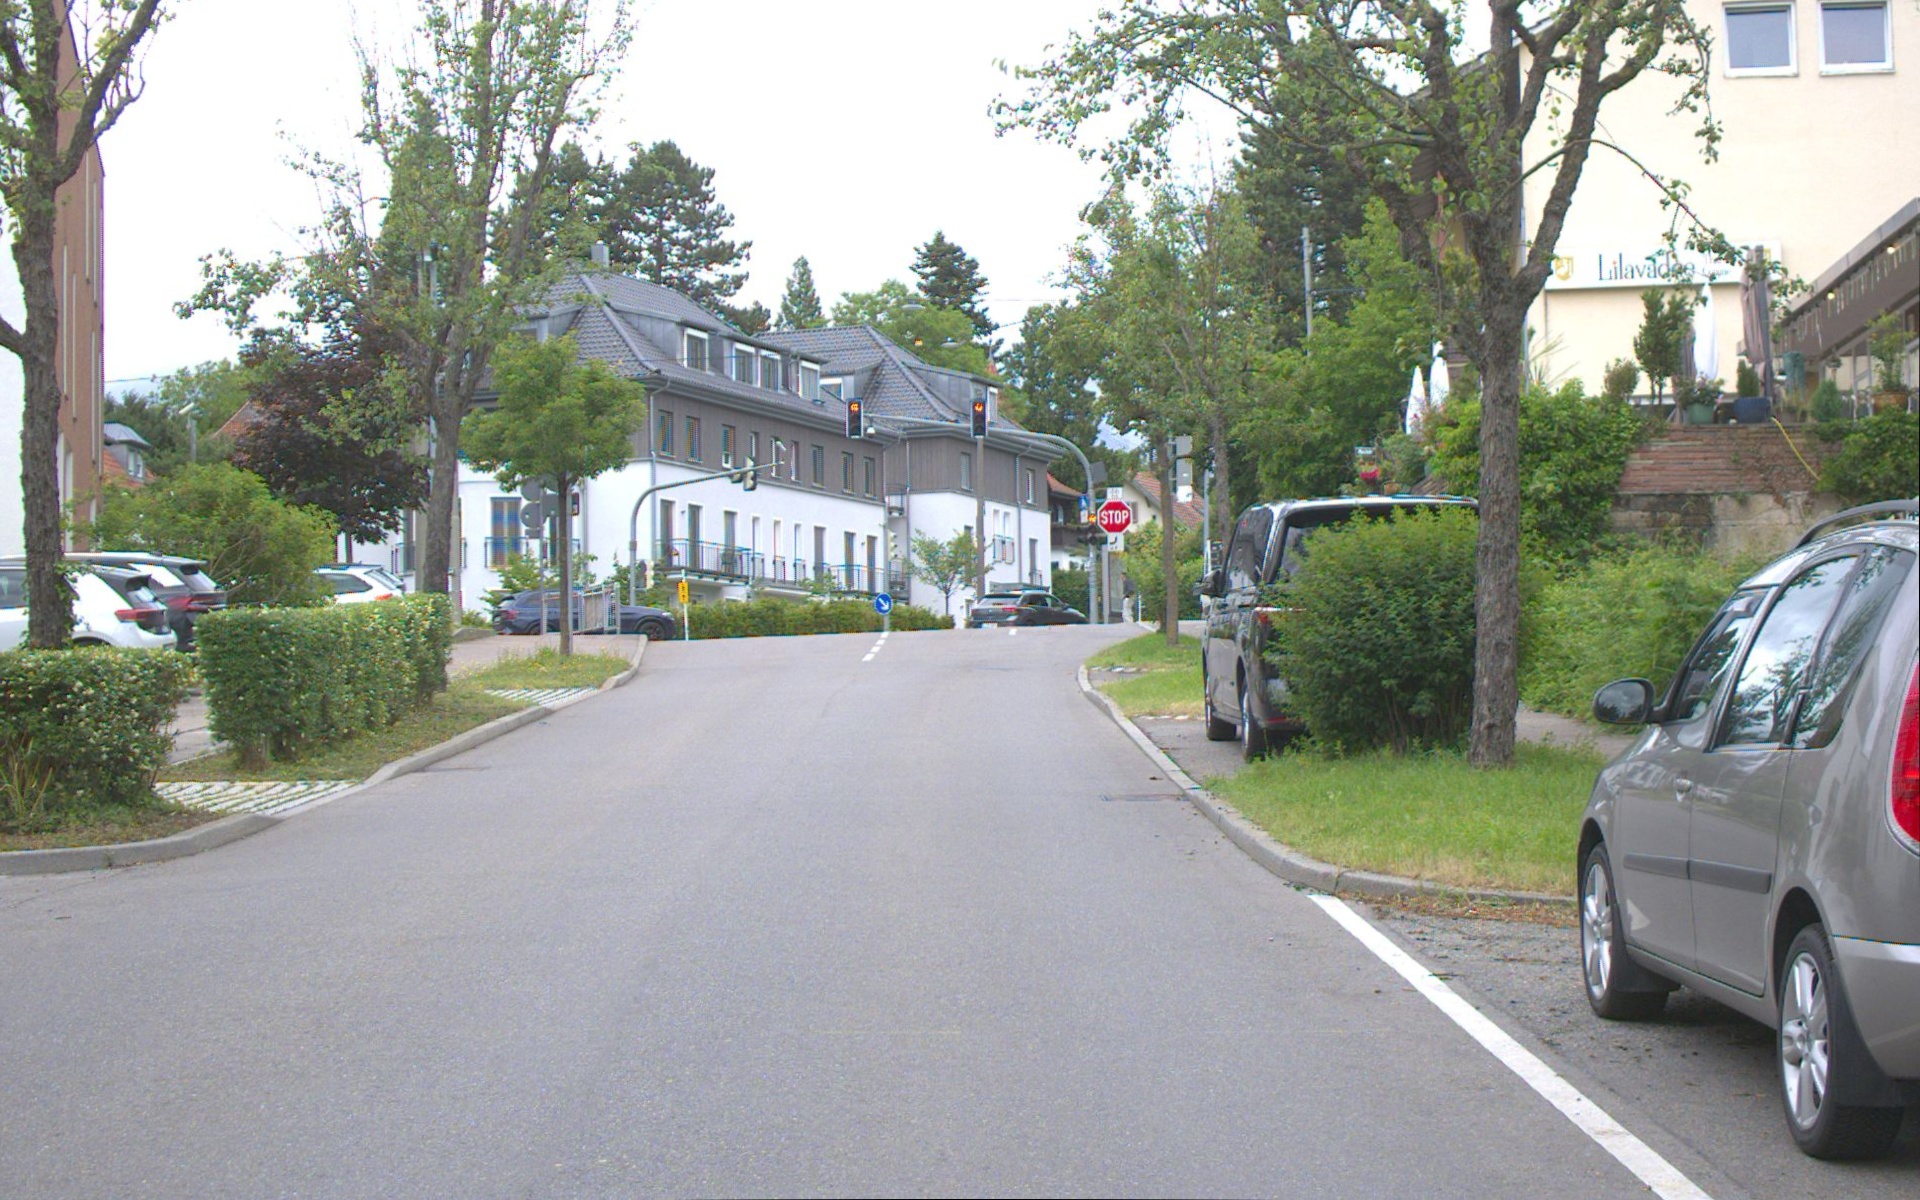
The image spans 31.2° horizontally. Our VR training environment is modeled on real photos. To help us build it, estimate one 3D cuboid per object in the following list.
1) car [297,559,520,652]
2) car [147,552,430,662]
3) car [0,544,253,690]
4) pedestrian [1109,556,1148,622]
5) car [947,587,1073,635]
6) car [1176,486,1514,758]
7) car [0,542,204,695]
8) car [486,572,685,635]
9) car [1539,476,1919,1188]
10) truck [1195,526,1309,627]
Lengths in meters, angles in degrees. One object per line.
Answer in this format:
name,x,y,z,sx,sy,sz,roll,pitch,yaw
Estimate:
car,-9.749,0.078,60.972,3.759,1.459,1.732,-2,2,-6
car,-10.947,0.117,56.287,4.259,1.618,2.014,-2,-1,-3
car,-10.442,0.186,40.010,3.987,1.648,2.008,0,1,1
pedestrian,4.358,-0.278,88.705,0.698,1.676,0.686,-2,1,-39
car,1.438,0.283,97.410,1.996,1.283,3.994,1,1,27
car,2.807,0.117,26.191,1.936,1.831,5.219,-1,1,0
car,-10.659,0.220,37.443,4.386,1.561,2.066,-2,1,-2
car,-9.528,0.064,87.473,4.695,1.486,2.162,-1,1,-17
car,2.866,0.516,9.829,1.717,1.627,3.929,1,1,0
truck,7.150,-0.539,84.864,2.183,2.188,5.881,-1,-2,-1
